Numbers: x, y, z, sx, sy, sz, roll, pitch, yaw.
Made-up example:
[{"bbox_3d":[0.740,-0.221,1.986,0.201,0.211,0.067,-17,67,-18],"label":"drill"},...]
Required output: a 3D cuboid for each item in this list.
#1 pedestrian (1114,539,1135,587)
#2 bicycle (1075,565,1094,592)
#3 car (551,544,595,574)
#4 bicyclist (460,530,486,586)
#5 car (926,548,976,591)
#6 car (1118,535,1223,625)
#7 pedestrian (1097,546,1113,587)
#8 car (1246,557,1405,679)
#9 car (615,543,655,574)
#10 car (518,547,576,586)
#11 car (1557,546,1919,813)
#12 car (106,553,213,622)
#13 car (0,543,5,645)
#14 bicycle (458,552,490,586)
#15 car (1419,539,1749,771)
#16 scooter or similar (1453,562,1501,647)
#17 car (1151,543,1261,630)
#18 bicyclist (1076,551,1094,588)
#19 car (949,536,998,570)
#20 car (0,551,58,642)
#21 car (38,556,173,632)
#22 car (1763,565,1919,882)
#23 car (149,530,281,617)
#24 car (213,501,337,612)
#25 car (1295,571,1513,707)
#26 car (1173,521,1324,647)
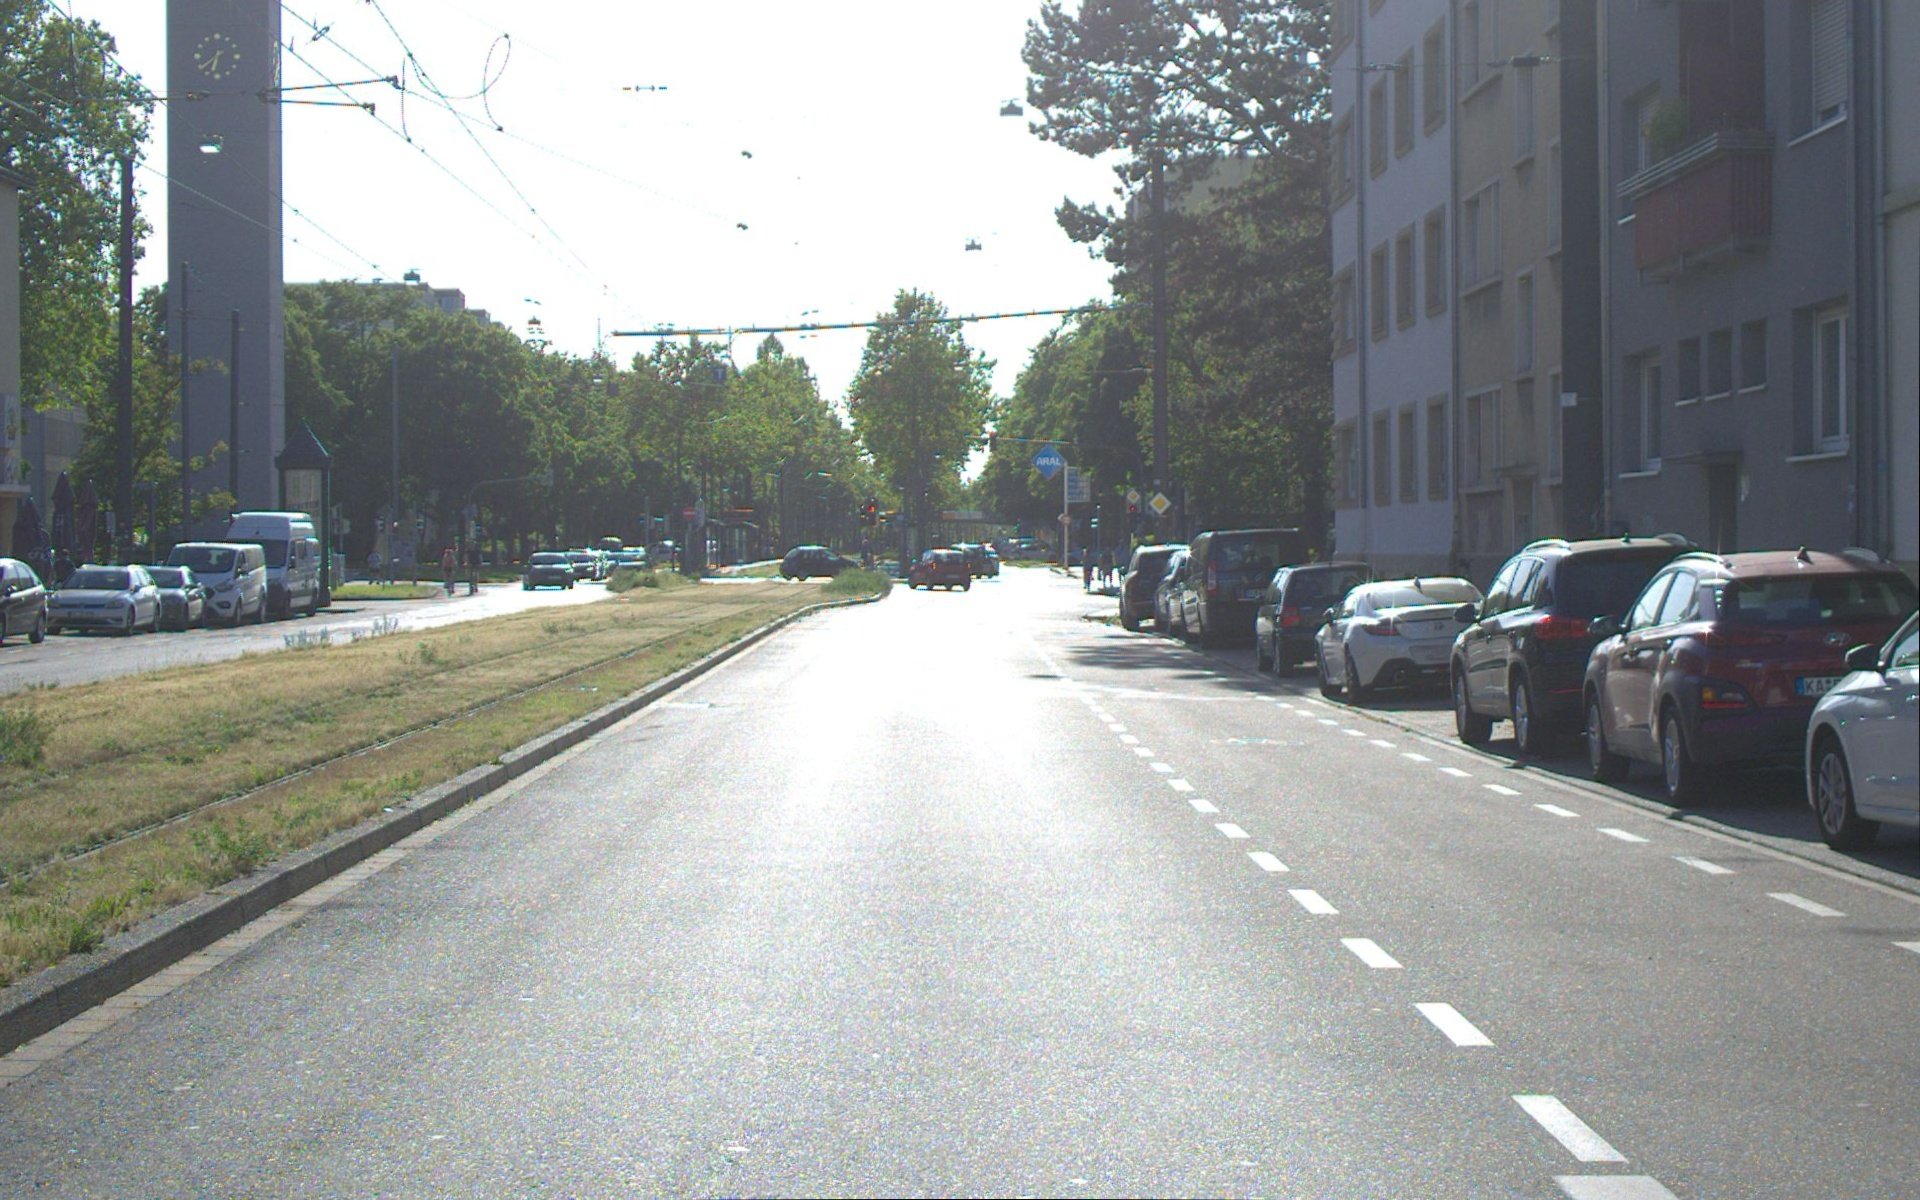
[{"bbox_3d":[6.275,-1.418,130.886,0.703,1.783,0.694,-2,2,5],"label":"pedestrian"},{"bbox_3d":[4.609,-0.798,127.317,0.648,0.969,1.803,2,1,2],"label":"bicycle"},{"bbox_3d":[-19.920,-2.124,177.082,1.806,1.527,4.361,0,1,0],"label":"car"},{"bbox_3d":[-17.546,-1.520,123.850,0.773,2.007,0.648,2,1,0],"label":"bicyclist"},{"bbox_3d":[-0.345,-1.170,128.791,1.694,1.503,3.700,2,1,-2],"label":"car"},{"bbox_3d":[4.420,-0.453,72.797,1.879,1.711,4.934,-3,1,1],"label":"car"},{"bbox_3d":[5.528,-1.274,130.998,0.529,1.523,0.627,-2,1,5],"label":"pedestrian"},{"bbox_3d":[4.858,0.206,46.094,1.635,1.449,3.790,-3,1,0],"label":"car"},{"bbox_3d":[-16.825,-2.157,178.018,1.687,1.527,4.361,0,1,0],"label":"car"},{"bbox_3d":[-16.283,-1.329,135.618,1.694,1.443,4.217,-1,1,0],"label":"car"},{"bbox_3d":[5.099,0.437,22.484,1.635,1.512,4.189,-1,1,0],"label":"car"},{"bbox_3d":[-18.608,-0.306,80.063,1.694,1.509,4.327,1,1,-3],"label":"car"},{"bbox_3d":[-18.182,-0.086,59.530,1.993,1.831,4.610,2,1,-1],"label":"car"},{"bbox_3d":[-17.521,-1.124,124.082,0.768,1.142,2.475,-2,1,0],"label":"bicycle"},{"bbox_3d":[4.969,0.371,27.938,1.635,1.641,4.375,-3,1,-3],"label":"car"},{"bbox_3d":[7.931,0.059,52.747,0.458,1.234,1.339,-4,1,0],"label":"scooter or similar"},{"bbox_3d":[4.748,-0.292,66.862,1.593,1.573,3.896,-2,1,-3],"label":"car"},{"bbox_3d":[4.634,-1.132,127.328,0.638,1.318,0.803,2,1,2],"label":"bicyclist"},{"bbox_3d":[0.667,-2.317,168.698,1.894,1.605,4.499,2,1,6],"label":"car"},{"bbox_3d":[-18.605,-0.106,65.027,1.993,1.602,4.151,2,1,-1],"label":"car"},{"bbox_3d":[-18.418,-0.151,74.263,1.892,1.486,4.704,2,1,-2],"label":"car"},{"bbox_3d":[5.341,0.588,16.707,1.635,1.453,4.082,-1,1,-4],"label":"car"},{"bbox_3d":[-18.545,-0.702,85.830,2.032,2.014,5.371,2,1,0],"label":"car"},{"bbox_3d":[-18.534,-1.215,93.298,2.032,2.859,6.228,1,1,0],"label":"car"},{"bbox_3d":[4.894,0.390,38.398,1.702,1.271,4.304,-4,1,-1],"label":"car"},{"bbox_3d":[4.765,-0.308,57.498,1.913,1.893,5.136,-3,1,-1],"label":"car"}]
